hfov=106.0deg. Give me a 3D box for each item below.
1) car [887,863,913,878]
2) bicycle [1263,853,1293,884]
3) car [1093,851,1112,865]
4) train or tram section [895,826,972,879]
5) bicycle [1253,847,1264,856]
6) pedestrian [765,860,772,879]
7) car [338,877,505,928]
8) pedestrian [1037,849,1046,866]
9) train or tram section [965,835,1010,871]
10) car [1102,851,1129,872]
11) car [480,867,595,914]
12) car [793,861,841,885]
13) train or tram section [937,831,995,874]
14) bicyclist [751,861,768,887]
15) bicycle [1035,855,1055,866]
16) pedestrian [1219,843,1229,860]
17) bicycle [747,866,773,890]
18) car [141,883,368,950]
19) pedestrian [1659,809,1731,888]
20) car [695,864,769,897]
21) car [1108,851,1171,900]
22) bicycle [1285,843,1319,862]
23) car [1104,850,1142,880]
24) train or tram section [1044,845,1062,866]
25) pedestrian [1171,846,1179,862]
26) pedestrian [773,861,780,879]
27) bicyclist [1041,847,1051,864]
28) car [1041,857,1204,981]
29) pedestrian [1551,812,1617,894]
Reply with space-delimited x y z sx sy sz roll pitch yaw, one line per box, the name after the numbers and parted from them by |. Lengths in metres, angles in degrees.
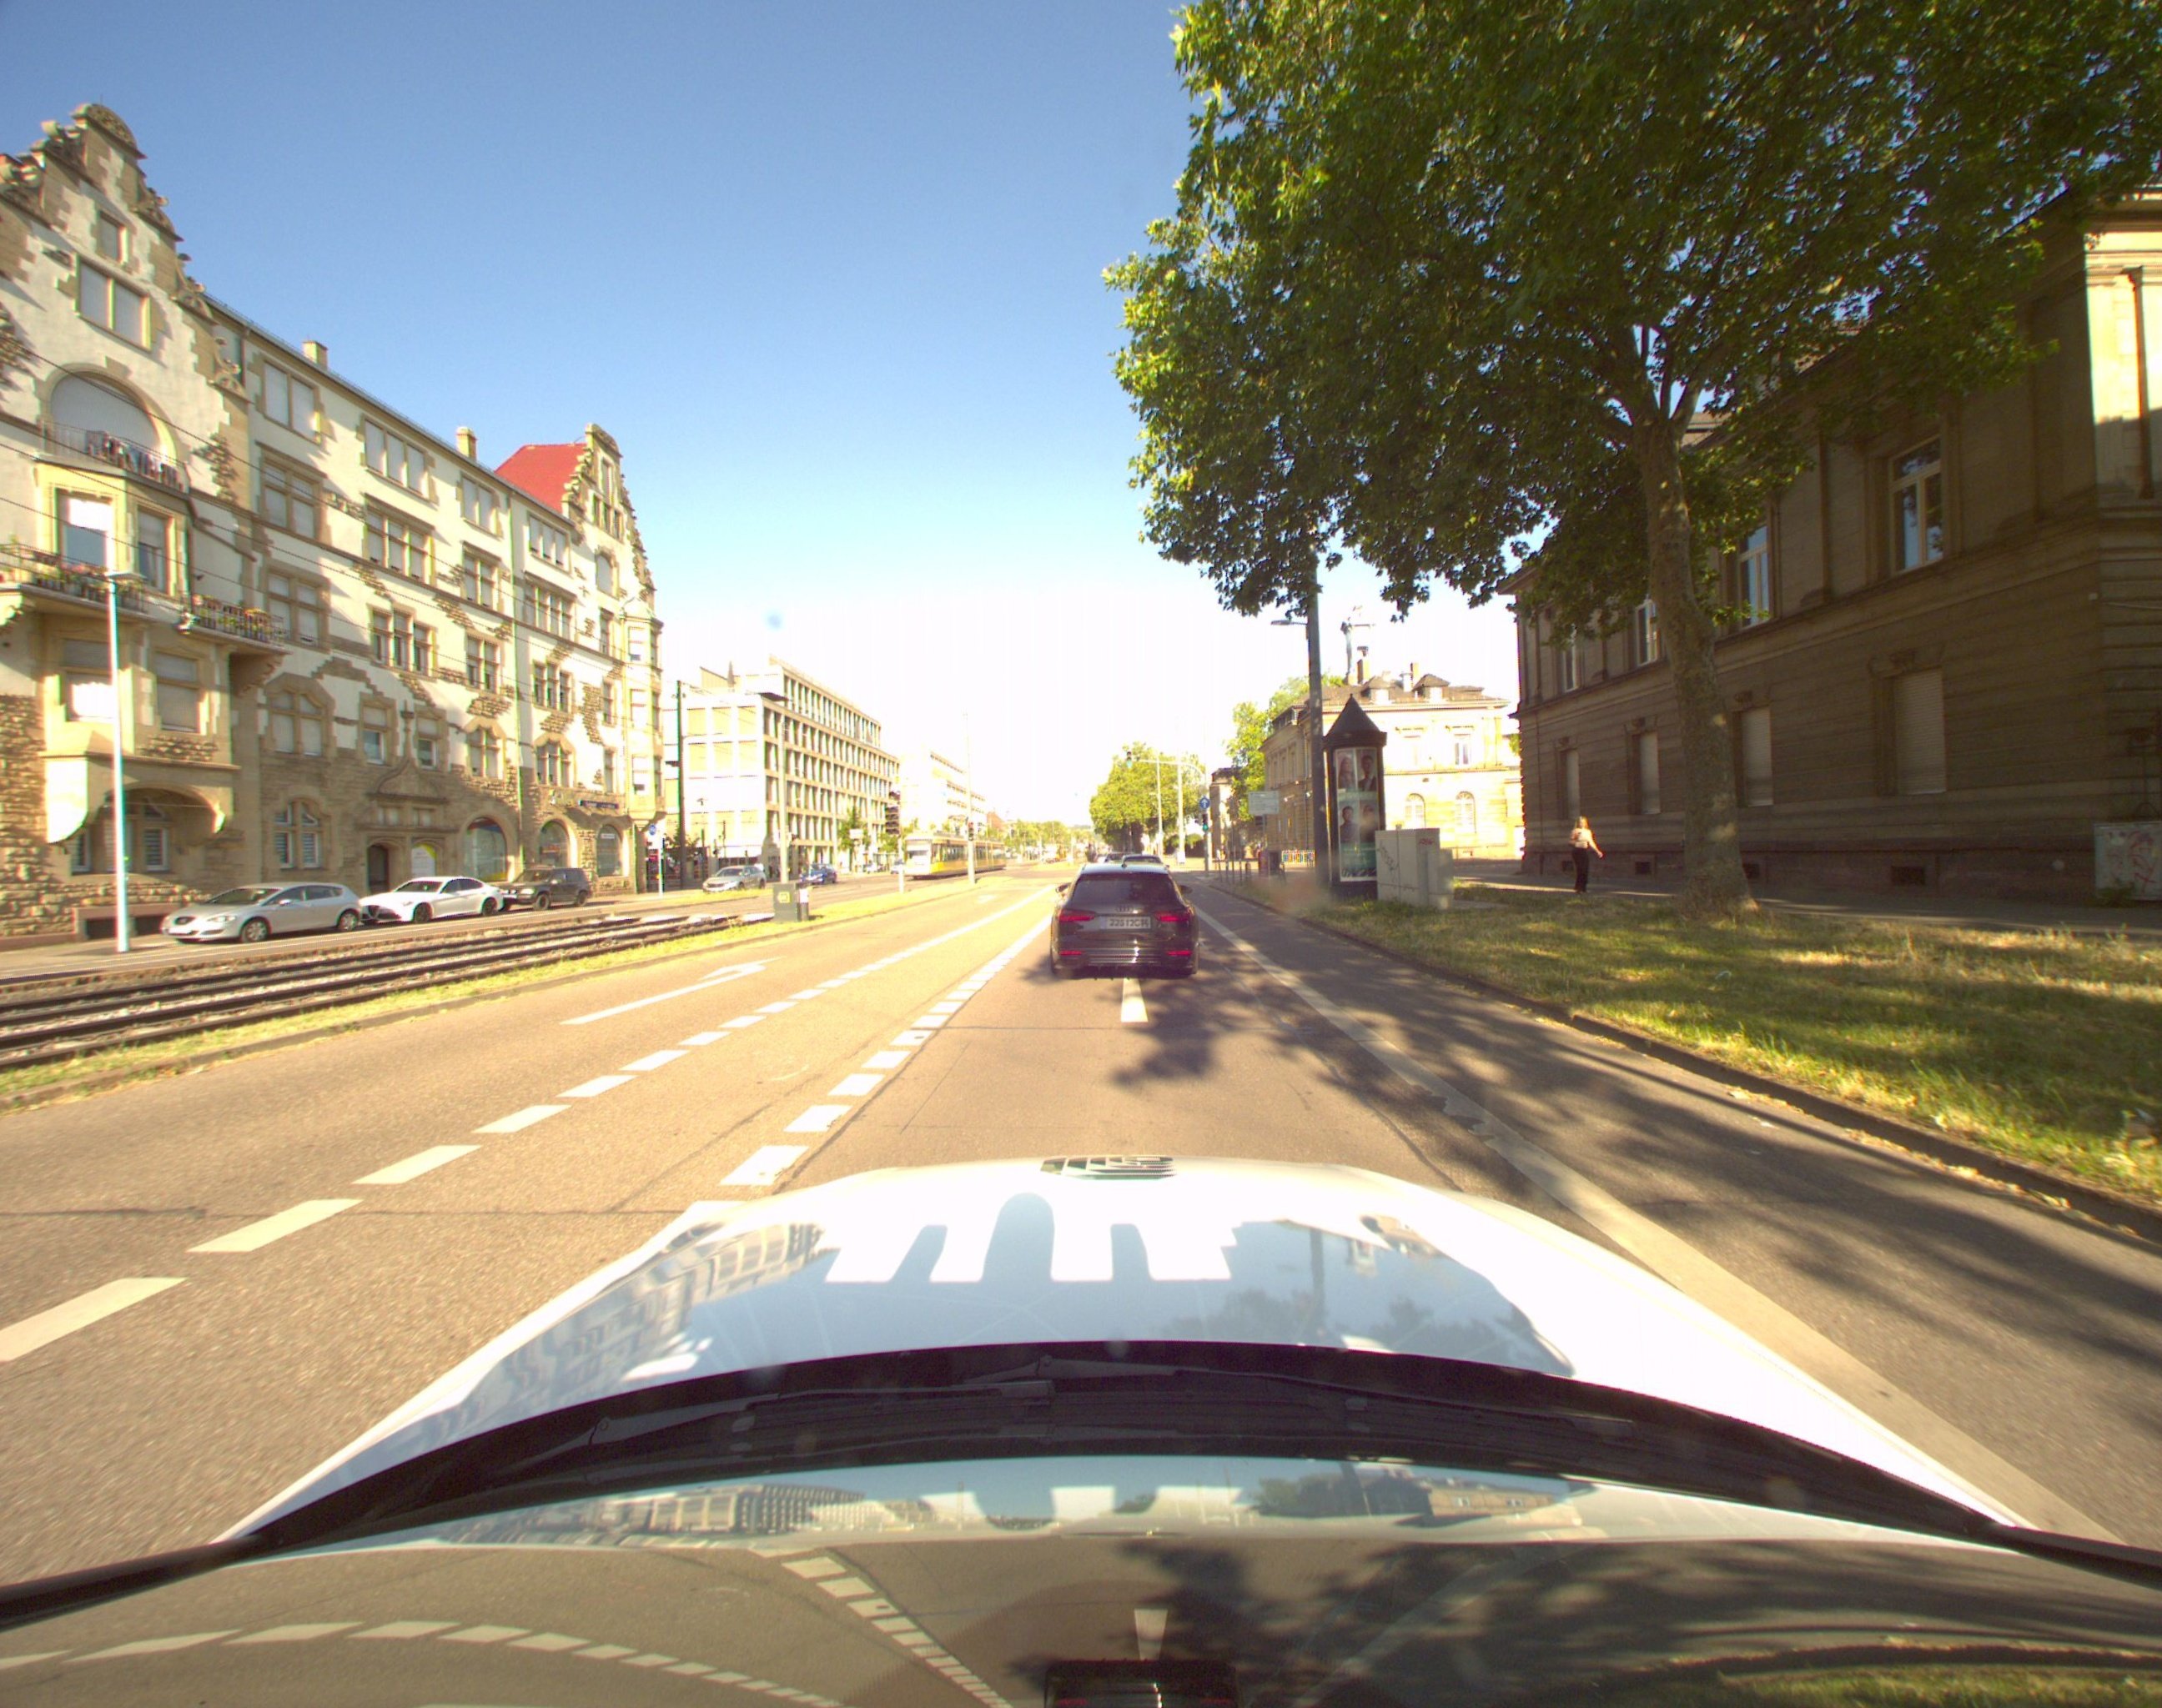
-19.052 1.699 85.939 1.814 1.457 4.155 -3 0 0 | car
6.941 0.494 28.752 0.538 1.061 1.770 -2 0 -2 | bicycle
2.359 0.433 88.774 1.897 1.486 4.143 0 0 -1 | car
-10.821 -0.109 61.481 2.802 3.489 13.210 -2 0 2 | train or tram section
20.997 -0.272 96.176 0.525 1.047 2.354 -2 0 -6 | bicycle
-32.109 1.600 83.723 0.475 1.843 0.438 -2 0 -36 | pedestrian
-21.654 1.538 27.046 1.711 1.423 4.656 0 0 0 | car
-4.330 0.388 89.747 0.742 1.741 0.659 -2 0 -20 | pedestrian
-9.847 -0.152 87.353 2.802 3.489 12.160 -2 0 2 | train or tram section
2.521 0.550 59.661 1.895 1.486 4.147 0 0 2 | car
-21.547 1.382 32.523 1.711 1.675 4.217 0 0 0 | car
-17.596 1.240 54.499 1.814 1.457 4.155 -3 0 -1 | car
-10.326 -0.134 74.681 2.802 3.489 13.210 -2 0 2 | train or tram section
-19.920 1.222 50.475 0.682 1.563 0.786 -3 0 3 | bicyclist
-3.876 0.690 88.268 2.011 1.108 0.760 -2 0 -18 | bicycle
15.391 -0.281 87.622 0.974 1.865 0.827 -2 0 4 | pedestrian
-19.904 1.466 50.548 0.682 1.382 1.948 -3 0 3 | bicycle
-21.573 1.562 21.547 1.704 1.431 4.222 0 0 0 | car
13.199 -0.113 17.533 0.766 1.606 0.987 -3 0 3 | pedestrian
-17.900 1.325 42.033 1.814 1.457 4.539 -3 0 -1 | car
1.875 0.647 26.920 1.895 1.486 4.147 0 0 2 | car
15.601 -0.097 57.522 2.130 1.209 0.765 -3 0 0 | bicycle
2.204 0.547 42.821 1.895 1.486 4.147 0 0 2 | car
-4.788 0.216 140.727 2.600 3.450 11.131 -2 0 0 | train or tram section
9.781 -0.033 84.666 0.680 1.660 0.758 -2 0 0 | pedestrian
-31.437 1.644 84.125 0.535 1.843 0.438 -2 0 -36 | pedestrian
-3.803 0.203 88.290 0.759 1.818 0.760 -2 0 -18 | bicyclist
0.573 0.762 11.543 1.895 1.421 4.147 0 0 2 | car
10.994 -0.029 17.847 0.766 1.709 1.043 -3 0 3 | pedestrian
